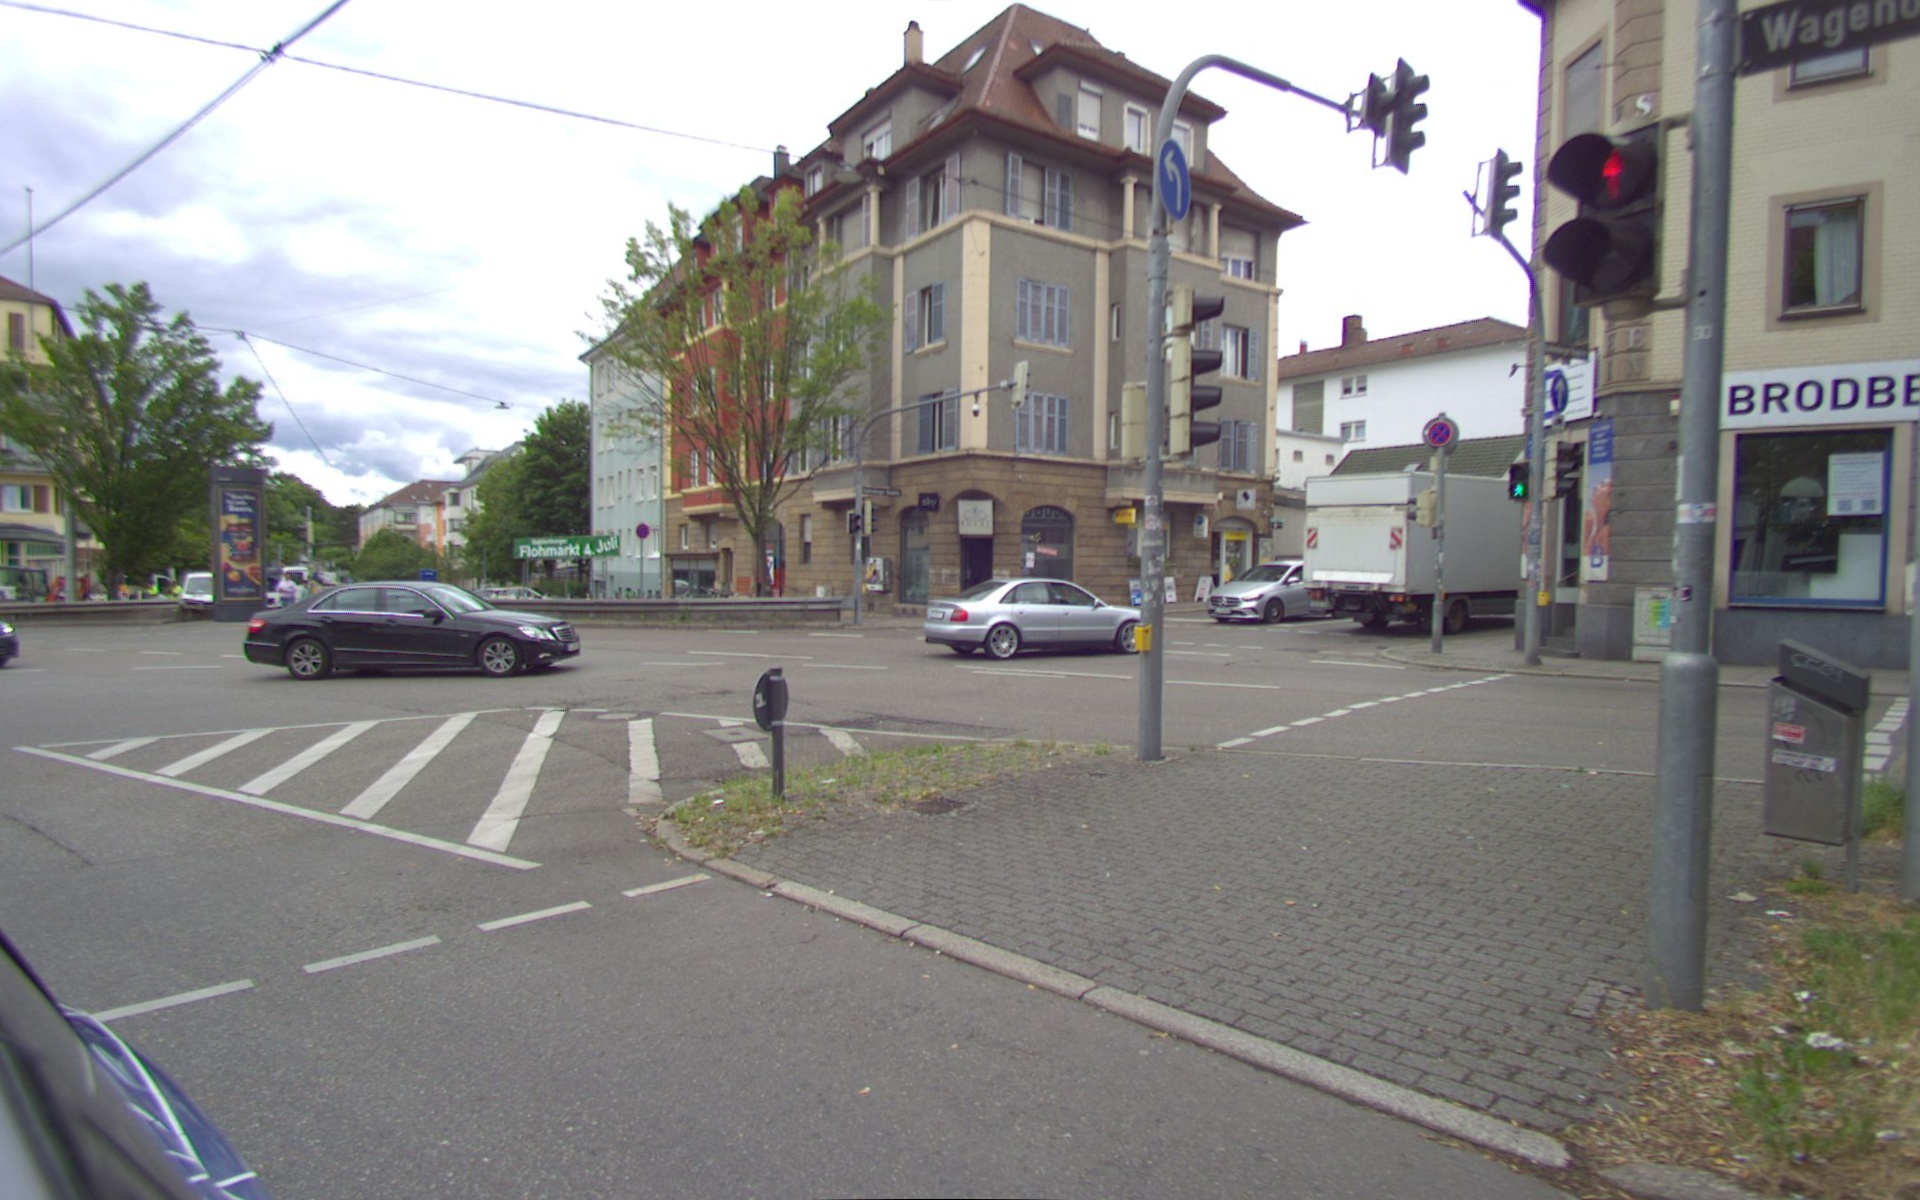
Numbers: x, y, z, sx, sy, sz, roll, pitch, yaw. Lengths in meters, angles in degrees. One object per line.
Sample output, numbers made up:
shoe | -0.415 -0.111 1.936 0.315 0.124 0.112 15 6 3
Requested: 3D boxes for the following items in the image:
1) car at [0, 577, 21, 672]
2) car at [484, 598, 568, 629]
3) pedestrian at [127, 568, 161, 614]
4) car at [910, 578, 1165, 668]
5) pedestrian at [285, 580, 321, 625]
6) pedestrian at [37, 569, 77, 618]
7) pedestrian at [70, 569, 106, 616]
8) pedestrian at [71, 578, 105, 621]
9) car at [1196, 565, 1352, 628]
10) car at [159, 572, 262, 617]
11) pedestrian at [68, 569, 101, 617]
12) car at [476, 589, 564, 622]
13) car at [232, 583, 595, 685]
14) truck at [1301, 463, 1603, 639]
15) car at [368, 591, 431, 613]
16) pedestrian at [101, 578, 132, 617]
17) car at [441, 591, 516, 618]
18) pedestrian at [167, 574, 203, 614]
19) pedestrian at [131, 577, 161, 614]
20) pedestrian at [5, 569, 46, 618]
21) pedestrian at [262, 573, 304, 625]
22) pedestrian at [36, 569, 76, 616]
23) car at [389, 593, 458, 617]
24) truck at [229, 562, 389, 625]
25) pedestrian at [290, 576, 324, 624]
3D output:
car | -18.922 0.482 17.563 4.692 1.626 1.847 -1 2 20
car | -24.197 0.757 56.475 3.879 1.610 1.893 0 2 1
pedestrian | -29.870 -0.334 37.052 0.759 1.631 0.652 -1 2 -17
car | 1.377 0.334 18.000 4.193 1.352 1.713 -2 3 -23
pedestrian | -20.348 0.075 31.352 0.622 1.351 0.661 0 2 13
pedestrian | -30.837 -0.231 34.568 0.759 1.631 0.652 -1 2 -12
pedestrian | -30.873 -0.281 35.844 0.647 1.631 0.765 1 2 29
pedestrian | -34.740 -0.033 40.329 0.854 1.631 0.921 -2 2 -31
car | 8.025 -0.144 25.781 3.986 1.484 1.656 -2 3 -34
car | -29.533 -0.270 40.064 2.174 1.583 4.493 -1 2 -22
pedestrian | -29.889 -0.236 34.552 0.549 1.631 0.604 0 2 11
car | -23.272 0.277 53.631 3.879 1.610 1.893 0 2 1
car | -8.362 0.491 15.784 4.672 1.430 1.842 0 2 1
truck | 11.922 -1.148 24.156 8.373 3.601 2.718 -2 3 -35
car | -43.536 0.112 78.676 3.872 1.610 1.896 -1 2 -7
pedestrian | -35.517 -0.118 42.619 0.854 1.631 0.921 -2 2 -31
car | -30.369 0.256 63.903 3.872 1.610 1.896 -1 2 -7
pedestrian | -38.957 -0.301 50.867 1.259 1.973 0.922 1 2 22
pedestrian | -36.576 -0.225 45.510 0.854 1.631 1.215 -2 2 -31
pedestrian | -31.790 -0.221 34.438 0.641 1.631 0.771 0 2 3
pedestrian | -21.109 -0.050 31.550 0.795 1.595 0.703 0 2 12
pedestrian | -31.887 -0.269 35.699 0.642 1.631 0.770 0 2 8
car | -38.209 0.338 72.131 3.872 1.610 1.896 -1 2 -7
truck | -30.930 -0.259 48.447 2.744 2.744 6.431 -1 -1 12
pedestrian | -19.910 -0.012 30.844 0.595 1.443 0.602 0 2 13
